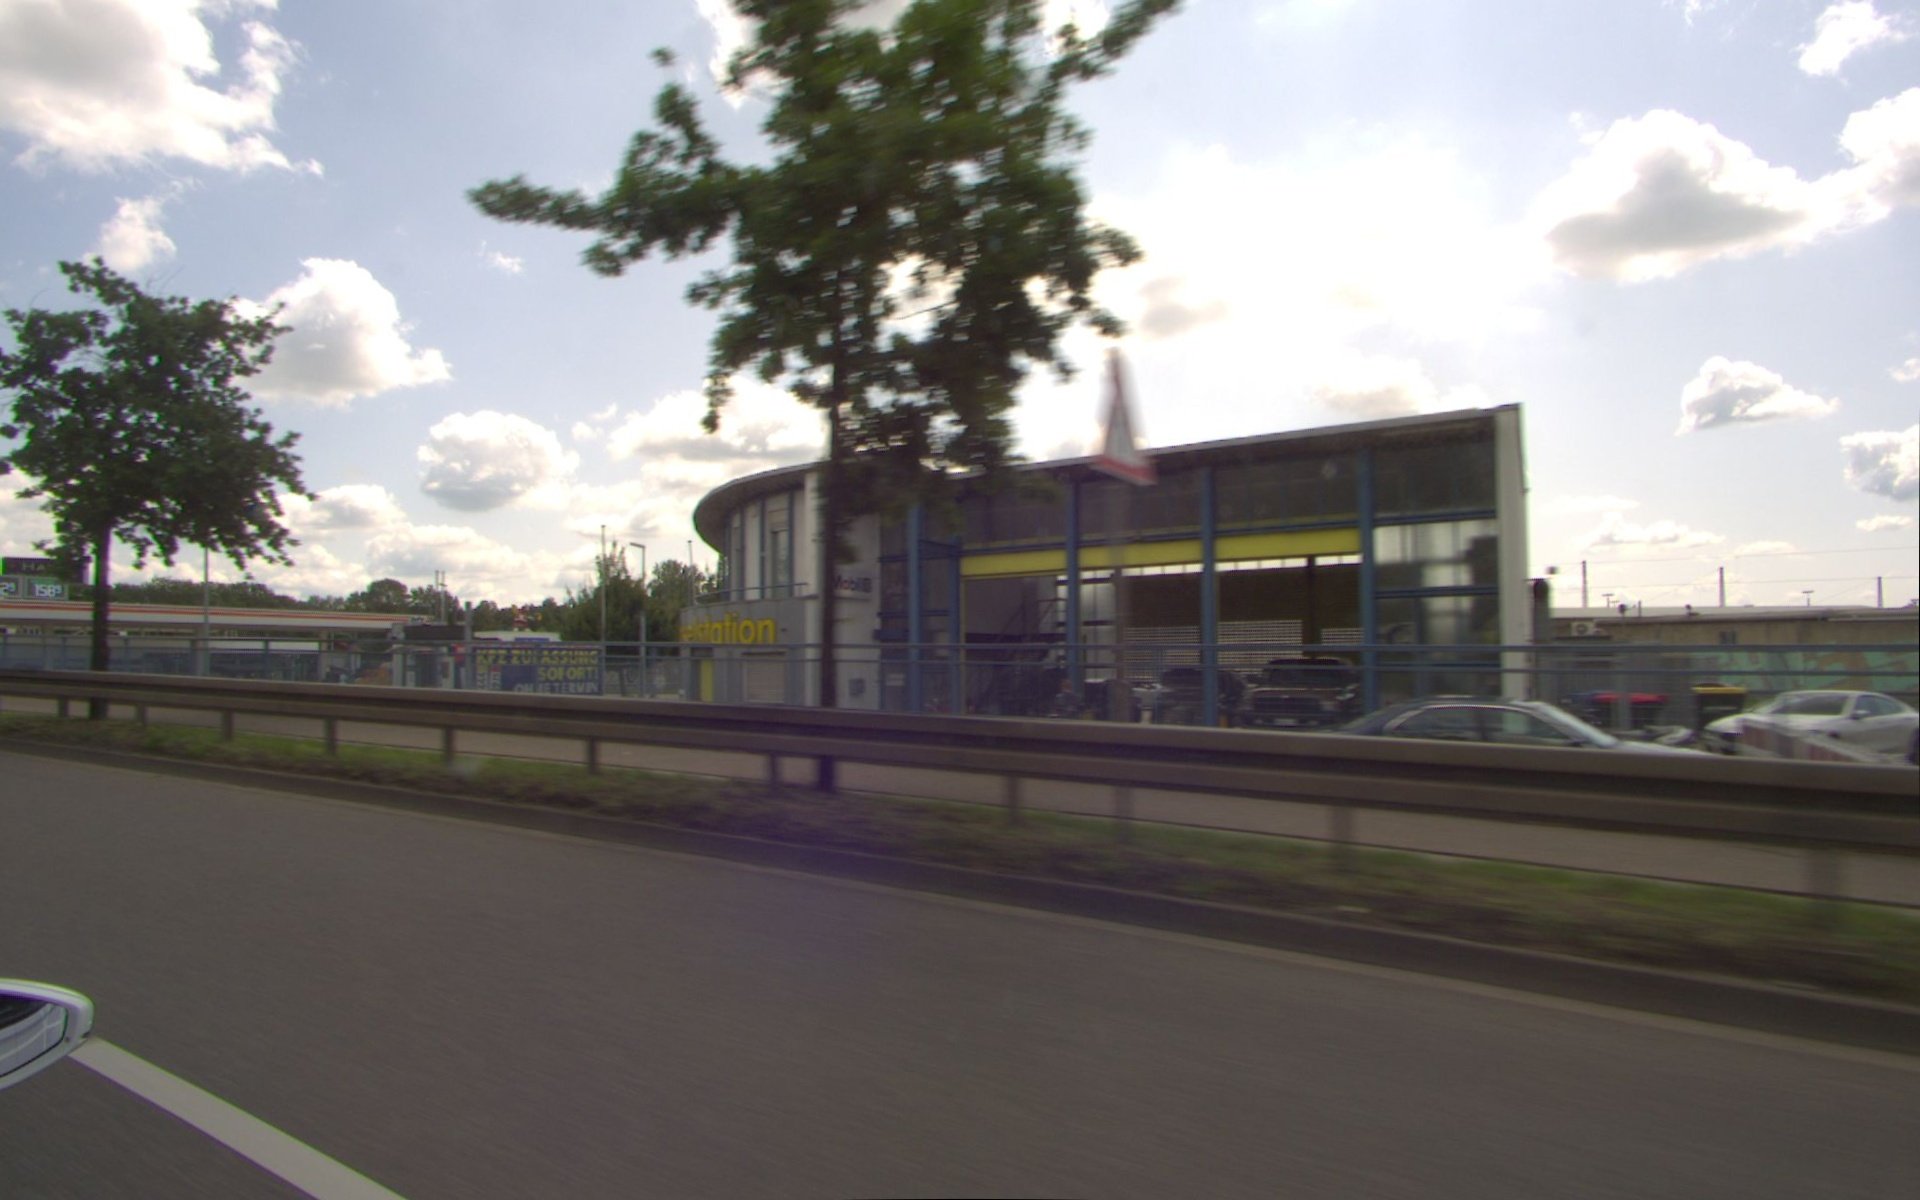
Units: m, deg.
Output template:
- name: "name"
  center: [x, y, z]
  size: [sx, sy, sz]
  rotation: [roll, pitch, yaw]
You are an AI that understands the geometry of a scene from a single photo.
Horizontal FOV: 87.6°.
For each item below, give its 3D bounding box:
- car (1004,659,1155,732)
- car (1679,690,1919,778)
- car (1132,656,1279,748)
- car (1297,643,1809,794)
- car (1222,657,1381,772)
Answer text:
- name: "car"
  center: [3.271, 2.427, 26.449]
  size: [2.132, 1.650, 4.764]
  rotation: [-1, -2, 33]
- name: "car"
  center: [15.680, 2.396, 18.492]
  size: [4.308, 1.301, 1.994]
  rotation: [1, -2, -23]
- name: "car"
  center: [6.272, 2.444, 25.169]
  size: [2.201, 2.039, 4.765]
  rotation: [-1, -3, 33]
- name: "car"
  center: [6.514, 1.201, 11.500]
  size: [4.683, 1.376, 1.990]
  rotation: [-1, -2, 33]
- name: "car"
  center: [7.307, 2.222, 20.964]
  size: [2.198, 2.038, 5.802]
  rotation: [-2, -4, 28]
